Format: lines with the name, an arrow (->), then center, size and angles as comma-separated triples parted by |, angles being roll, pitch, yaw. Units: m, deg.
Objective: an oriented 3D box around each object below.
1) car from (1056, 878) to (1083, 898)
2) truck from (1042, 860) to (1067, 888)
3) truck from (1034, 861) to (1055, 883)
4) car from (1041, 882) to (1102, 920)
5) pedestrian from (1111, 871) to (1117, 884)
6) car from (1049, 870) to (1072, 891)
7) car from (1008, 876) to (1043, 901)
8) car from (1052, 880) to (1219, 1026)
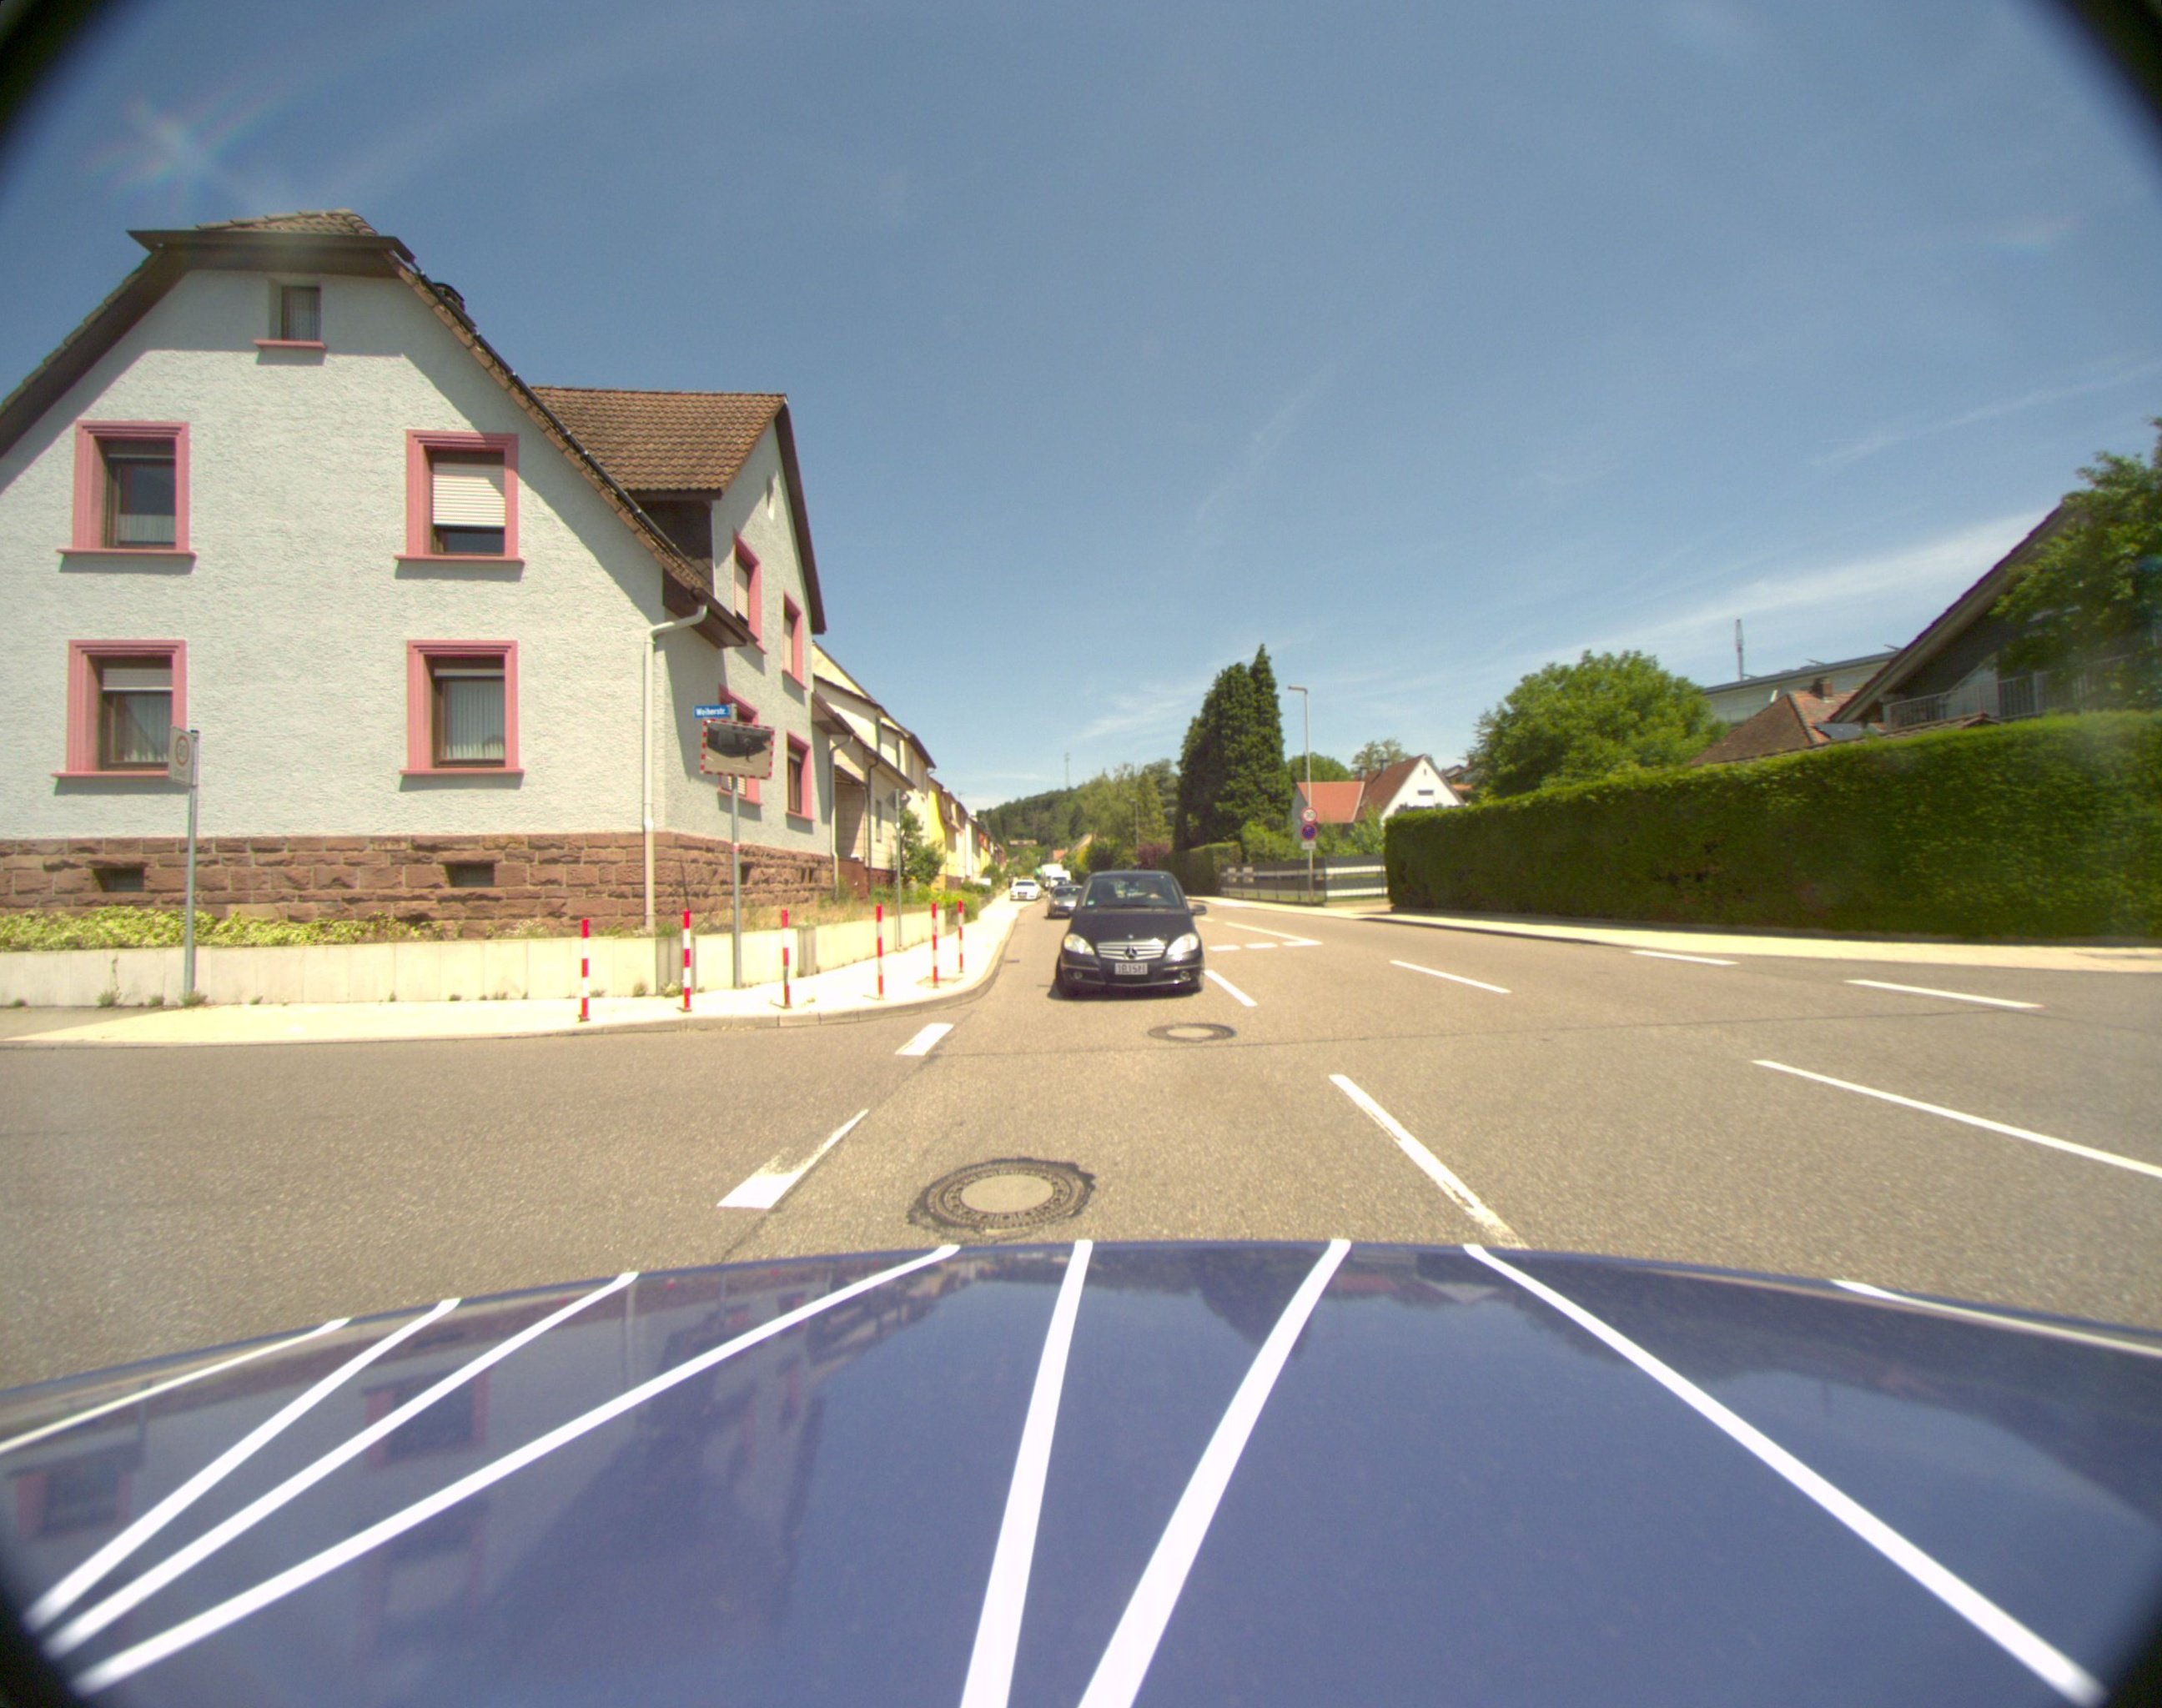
car -> -0.949, 2.695, 60.210 | 1.865, 1.440, 4.000 | -2, -2, -5
truck -> -3.650, 2.676, 102.643 | 3.150, 3.466, 8.272 | -2, -1, -3
truck -> -6.154, 3.029, 126.877 | 3.150, 3.465, 8.271 | -2, -1, -4
car -> -0.444, 1.832, 30.289 | 1.911, 1.296, 4.155 | -2, -1, -7
pedestrian -> 3.589, 2.578, 83.137 | 0.554, 1.477, 0.483 | -3, 0, 1
car -> -2.180, 2.729, 79.365 | 1.999, 2.001, 4.547 | -4, -1, -6
car -> -3.725, 2.328, 51.984 | 1.998, 1.510, 4.145 | 2, -1, 1
car -> 0.659, 1.216, 10.878 | 1.868, 1.579, 4.158 | -2, -2, 1
